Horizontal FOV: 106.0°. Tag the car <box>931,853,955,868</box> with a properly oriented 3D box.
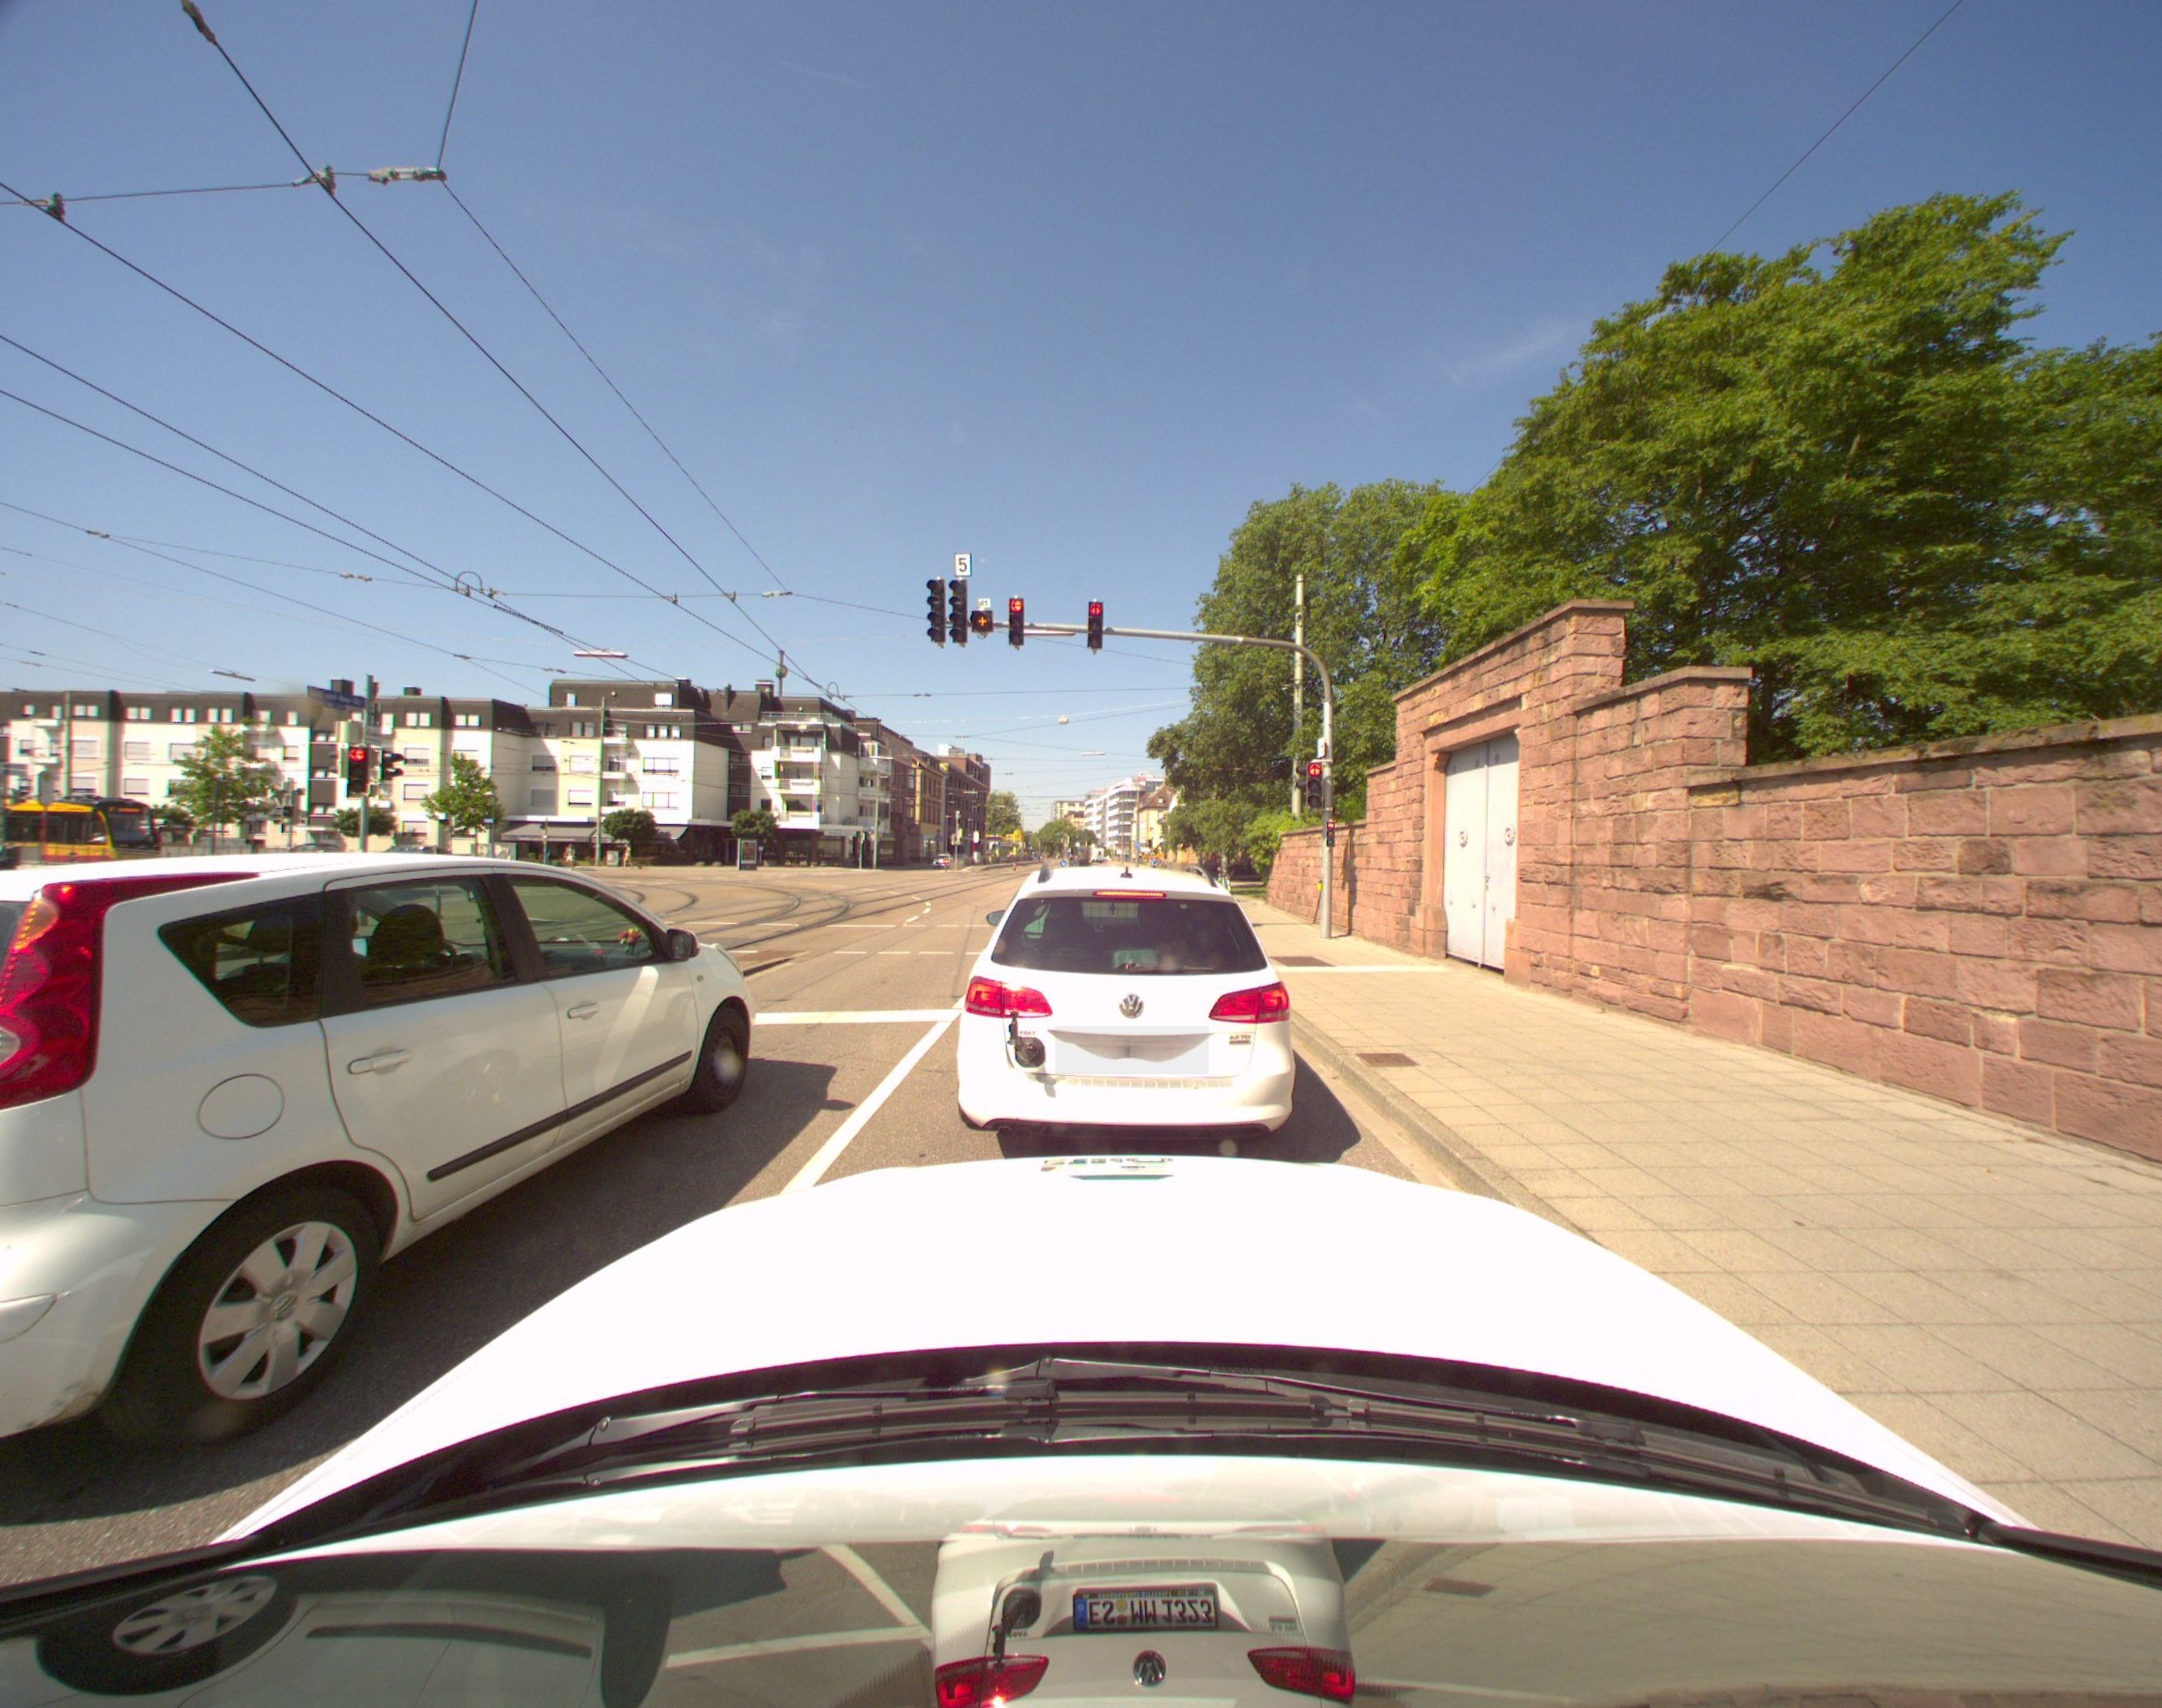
[{"bbox_3d":[-13.703,0.623,80.886,1.620,1.431,3.962,2,0,0],"label":"car"}]

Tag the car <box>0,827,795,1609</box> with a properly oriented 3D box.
[{"bbox_3d":[-2.952,0.736,3.679,1.759,1.561,4.068,0,0,2],"label":"car"}]

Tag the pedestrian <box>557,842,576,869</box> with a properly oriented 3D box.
[{"bbox_3d":[-34.158,0.122,54.046,0.754,1.760,0.817,0,0,33],"label":"pedestrian"}]

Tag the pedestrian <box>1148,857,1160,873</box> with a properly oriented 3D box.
[{"bbox_3d":[6.666,0.995,74.504,0.847,1.510,0.786,1,-1,34],"label":"pedestrian"}]

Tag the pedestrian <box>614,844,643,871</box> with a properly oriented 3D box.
[{"bbox_3d":[-31.577,0.261,56.895,1.108,1.836,1.448,0,0,40],"label":"pedestrian"}]

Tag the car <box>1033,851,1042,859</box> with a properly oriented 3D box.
[{"bbox_3d":[-10.523,0.309,196.840,1.987,2.014,3.999,0,-1,0],"label":"car"}]

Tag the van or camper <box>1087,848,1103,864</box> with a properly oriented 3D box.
[{"bbox_3d":[2.759,0.403,162.524,2.936,3.180,6.609,1,0,-2],"label":"van or camper"}]

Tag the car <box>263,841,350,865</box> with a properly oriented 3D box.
[{"bbox_3d":[-51.210,-0.084,53.919,3.973,1.500,1.828,1,0,0],"label":"car"}]

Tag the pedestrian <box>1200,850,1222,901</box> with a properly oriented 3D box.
[{"bbox_3d":[4.029,0.658,25.291,0.538,1.549,0.663,-1,0,1],"label":"pedestrian"}]

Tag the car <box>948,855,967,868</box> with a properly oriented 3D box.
[{"bbox_3d":[-13.375,0.801,88.626,1.568,1.459,3.811,1,0,-2],"label":"car"}]

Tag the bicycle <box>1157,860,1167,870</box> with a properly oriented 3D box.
[{"bbox_3d":[8.988,1.228,90.286,0.720,1.139,2.203,1,0,14],"label":"bicycle"}]

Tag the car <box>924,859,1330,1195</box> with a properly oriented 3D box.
[{"bbox_3d":[0.262,0.760,5.473,1.746,1.418,3.854,1,0,2],"label":"car"}]

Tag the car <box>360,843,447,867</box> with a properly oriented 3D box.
[{"bbox_3d":[-44.944,0.063,54.073,4.158,1.500,1.828,1,0,0],"label":"car"}]

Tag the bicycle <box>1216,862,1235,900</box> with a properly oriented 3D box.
[{"bbox_3d":[4.492,0.819,25.233,0.532,1.111,1.812,0,-1,11],"label":"bicycle"}]

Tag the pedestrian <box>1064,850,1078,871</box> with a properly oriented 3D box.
[{"bbox_3d":[-0.873,0.574,72.109,0.823,1.809,0.834,0,-1,42],"label":"pedestrian"}]

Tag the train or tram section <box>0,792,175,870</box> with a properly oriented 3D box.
[{"bbox_3d":[-53.603,-1.170,40.581,13.814,3.658,2.769,1,0,1],"label":"train or tram section"}]

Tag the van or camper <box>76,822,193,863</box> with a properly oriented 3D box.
[{"bbox_3d":[-62.661,-0.756,53.993,4.859,2.624,2.376,1,0,0],"label":"van or camper"}]

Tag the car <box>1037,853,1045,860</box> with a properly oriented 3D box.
[{"bbox_3d":[-11.459,0.770,233.395,1.987,2.014,3.999,0,-1,0],"label":"car"}]

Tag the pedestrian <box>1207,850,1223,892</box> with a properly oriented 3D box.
[{"bbox_3d":[5.521,0.686,33.597,0.646,1.682,0.709,1,0,8],"label":"pedestrian"}]
